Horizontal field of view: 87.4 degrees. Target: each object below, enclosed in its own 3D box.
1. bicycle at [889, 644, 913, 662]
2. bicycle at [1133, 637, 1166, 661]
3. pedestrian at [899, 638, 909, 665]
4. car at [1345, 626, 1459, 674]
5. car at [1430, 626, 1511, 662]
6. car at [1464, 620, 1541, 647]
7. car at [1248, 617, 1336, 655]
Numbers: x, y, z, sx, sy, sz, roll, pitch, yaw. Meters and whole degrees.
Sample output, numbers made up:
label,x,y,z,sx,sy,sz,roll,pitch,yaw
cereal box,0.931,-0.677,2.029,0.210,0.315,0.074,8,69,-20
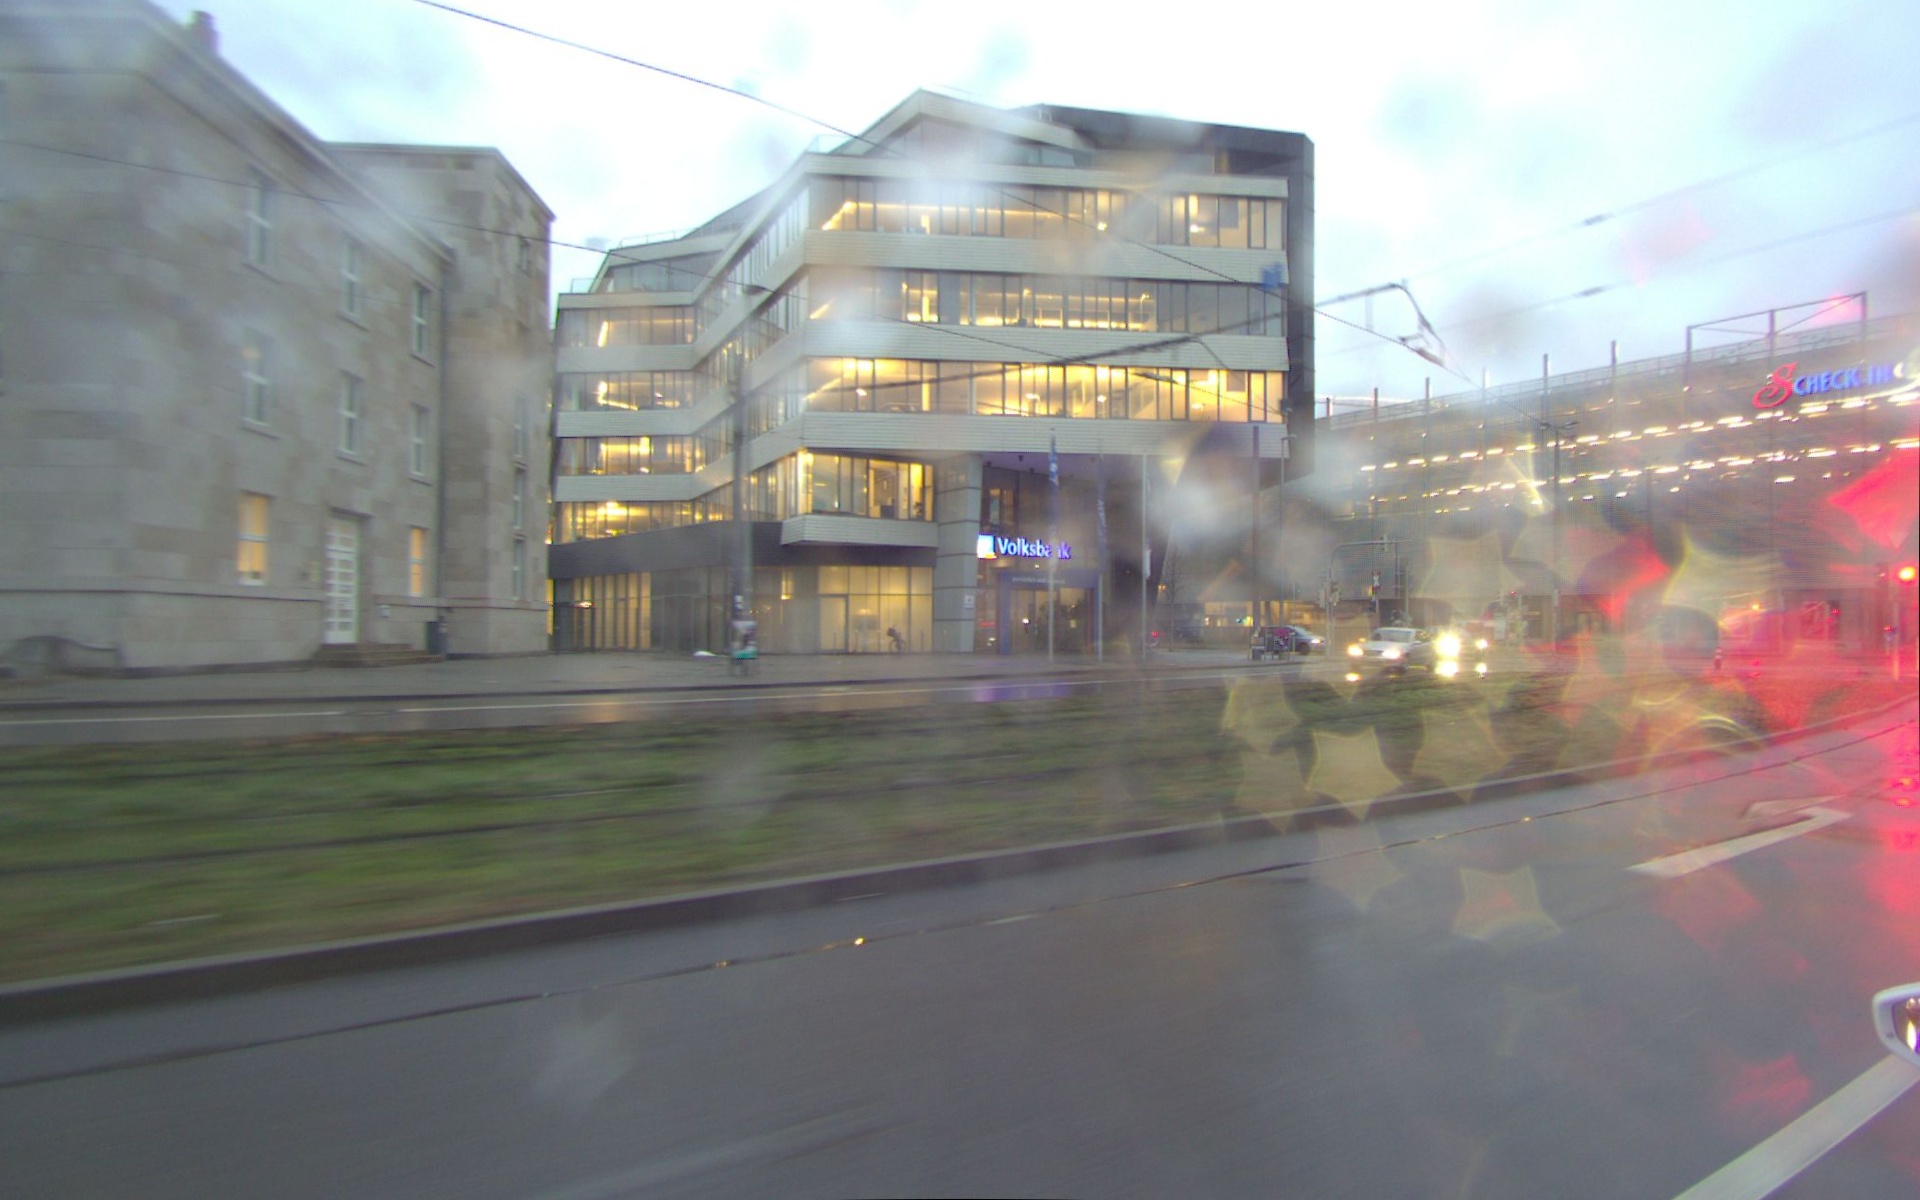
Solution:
label,x,y,z,sx,sy,sz,roll,pitch,yaw
bicycle,-2.419,2.141,40.922,0.898,0.724,0.482,1,-2,-17
bicycle,8.971,2.319,47.561,1.592,1.104,0.552,1,-2,-30
pedestrian,-2.297,2.121,41.125,0.380,1.103,0.325,0,-2,-3
car,15.287,1.681,34.652,4.619,1.454,1.805,1,0,-41
car,22.084,1.870,43.396,4.489,1.419,1.641,1,0,-42
car,43.176,2.633,80.064,1.877,1.988,5.030,1,0,-42
car,17.643,1.928,53.425,3.943,1.899,1.989,-3,-2,42
